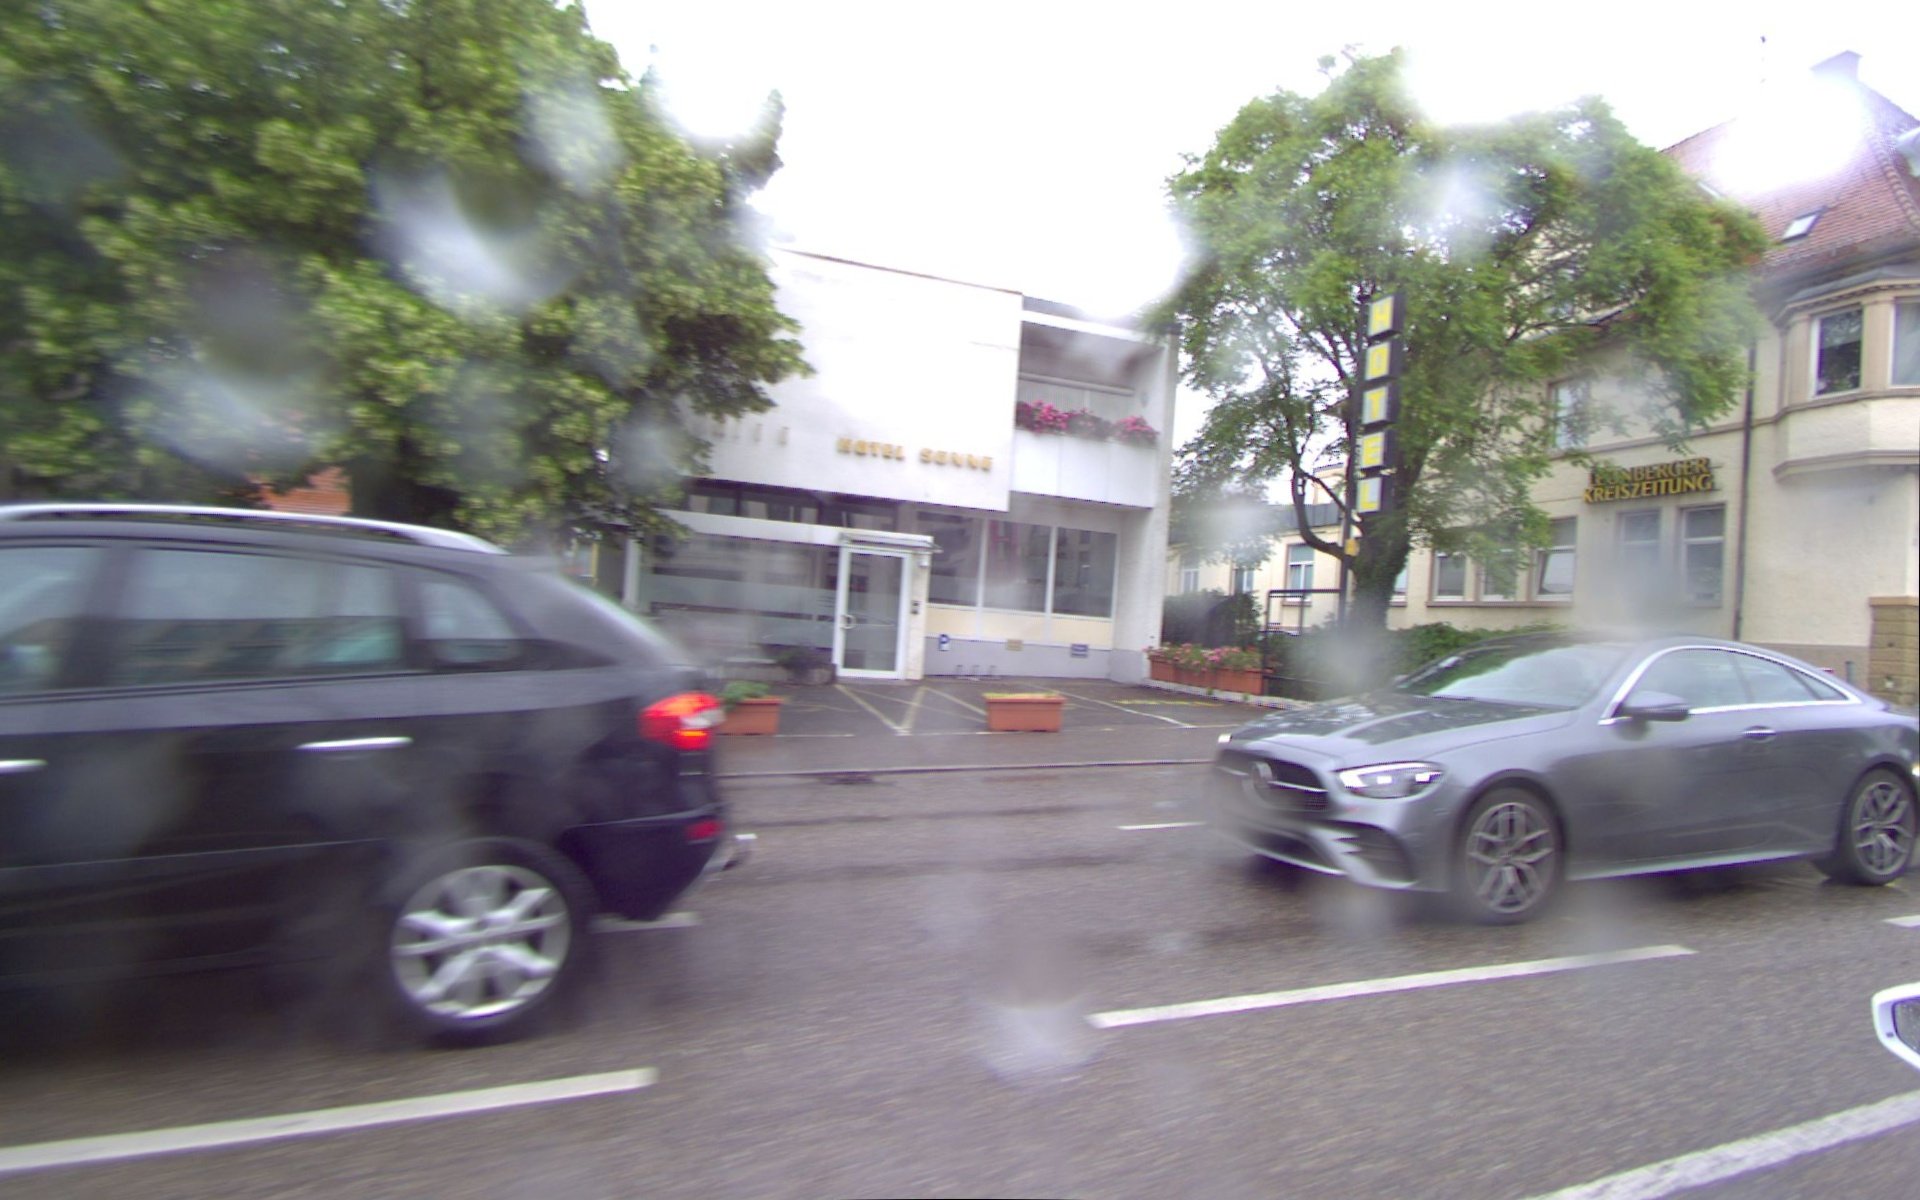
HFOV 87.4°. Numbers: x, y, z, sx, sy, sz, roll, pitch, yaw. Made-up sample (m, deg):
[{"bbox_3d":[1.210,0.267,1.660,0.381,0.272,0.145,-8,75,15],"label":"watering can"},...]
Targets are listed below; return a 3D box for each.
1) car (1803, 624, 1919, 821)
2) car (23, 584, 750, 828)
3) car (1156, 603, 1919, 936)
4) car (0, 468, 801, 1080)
[{"bbox_3d":[9.455,1.003,8.207,4.616,1.458,1.797,2,0,-19],"label":"car"},{"bbox_3d":[-3.635,0.651,7.129,3.997,1.372,1.735,2,0,-19],"label":"car"},{"bbox_3d":[3.884,0.830,6.203,4.939,1.460,1.939,2,0,-19],"label":"car"},{"bbox_3d":[-2.815,0.480,3.681,4.153,1.685,1.847,2,0,-18],"label":"car"}]
